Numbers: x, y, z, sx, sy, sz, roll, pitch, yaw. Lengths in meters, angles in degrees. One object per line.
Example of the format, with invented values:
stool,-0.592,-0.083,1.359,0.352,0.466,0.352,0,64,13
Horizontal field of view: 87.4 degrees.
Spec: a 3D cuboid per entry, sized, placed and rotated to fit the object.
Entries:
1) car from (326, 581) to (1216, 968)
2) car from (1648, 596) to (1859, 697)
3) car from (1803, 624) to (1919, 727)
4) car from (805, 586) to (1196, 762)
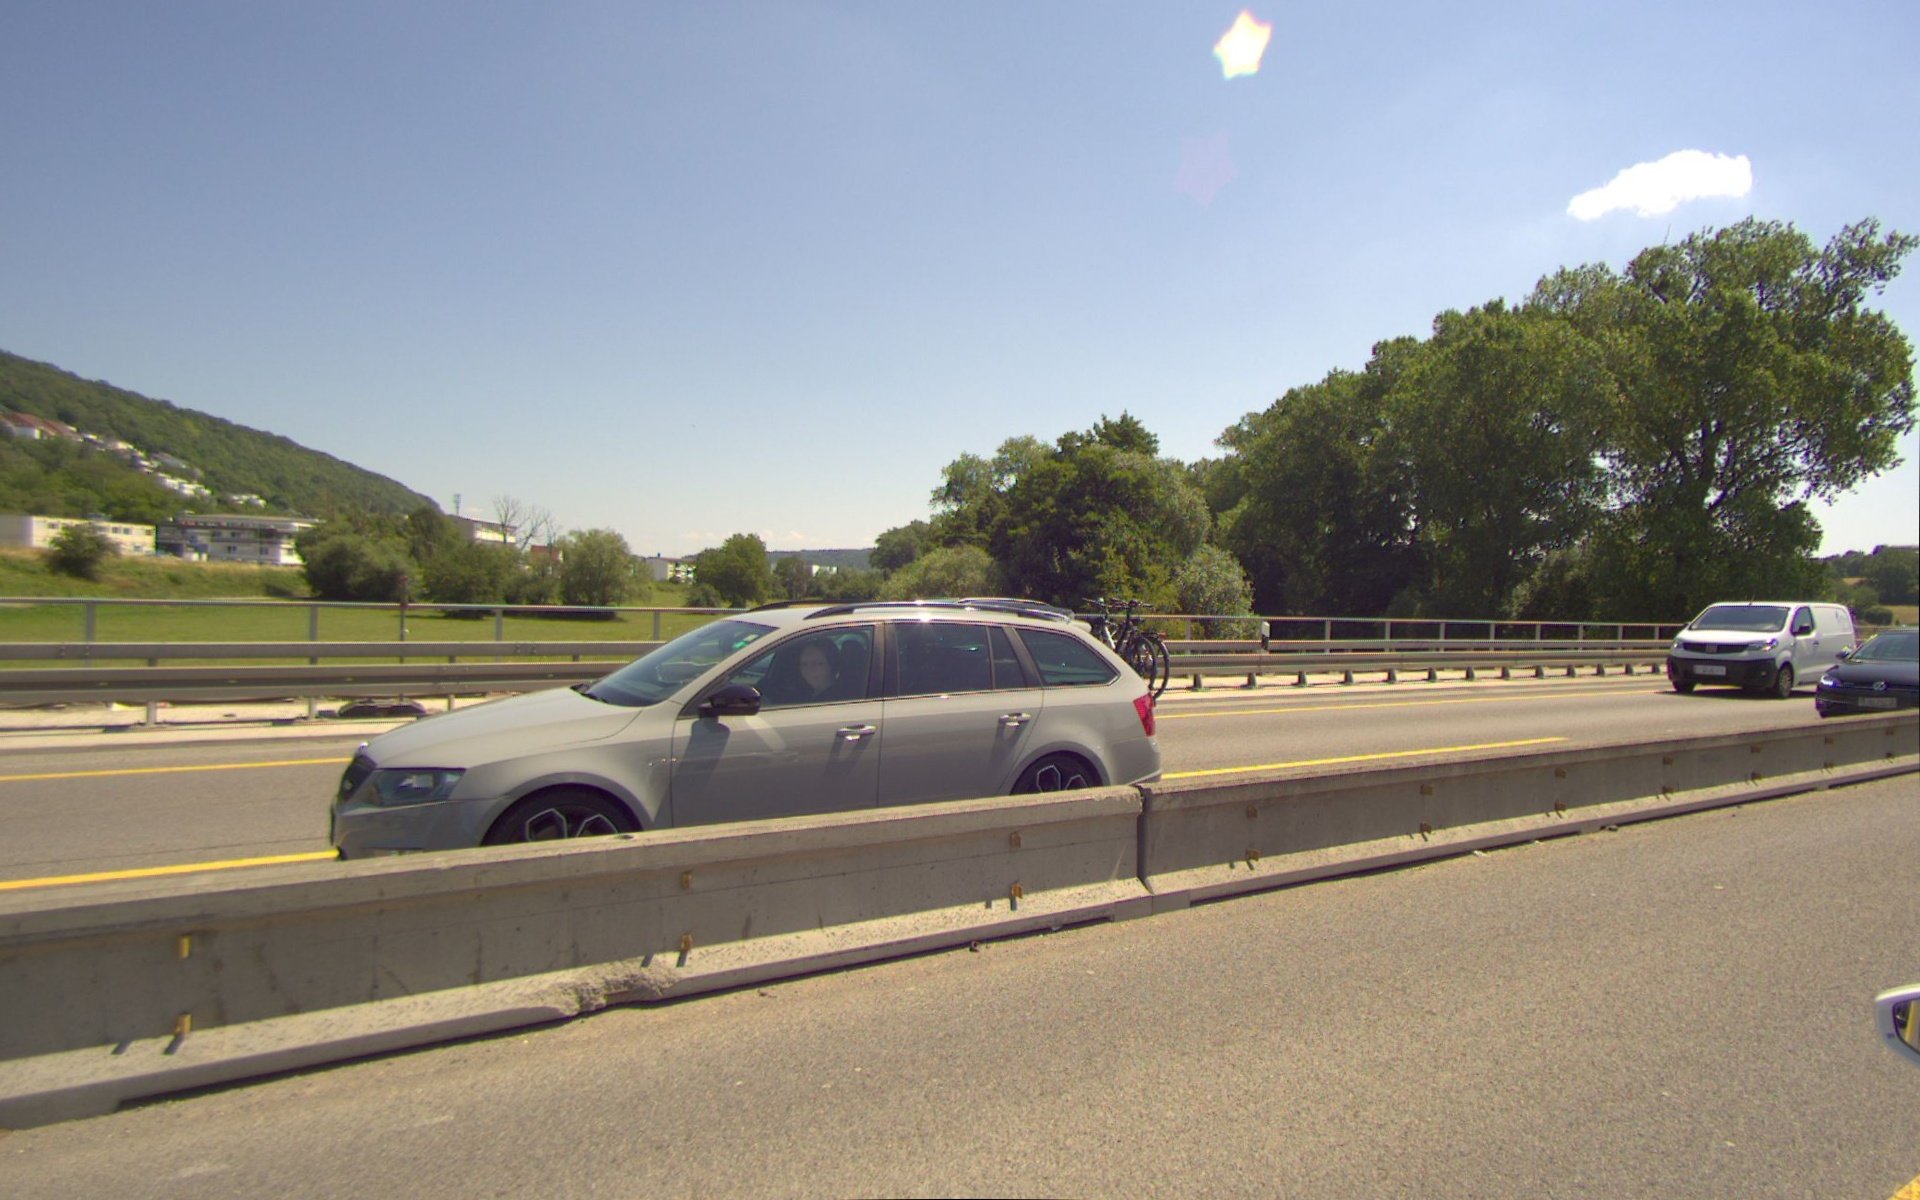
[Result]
car,-0.853,0.699,5.734,4.604,1.437,1.816,1,-2,-31
car,16.351,0.913,20.650,4.574,1.892,1.850,1,-1,-30
car,14.688,1.080,15.235,4.108,1.410,1.670,1,-2,-31
car,0.500,0.708,10.925,3.956,1.590,1.803,1,-1,-32
